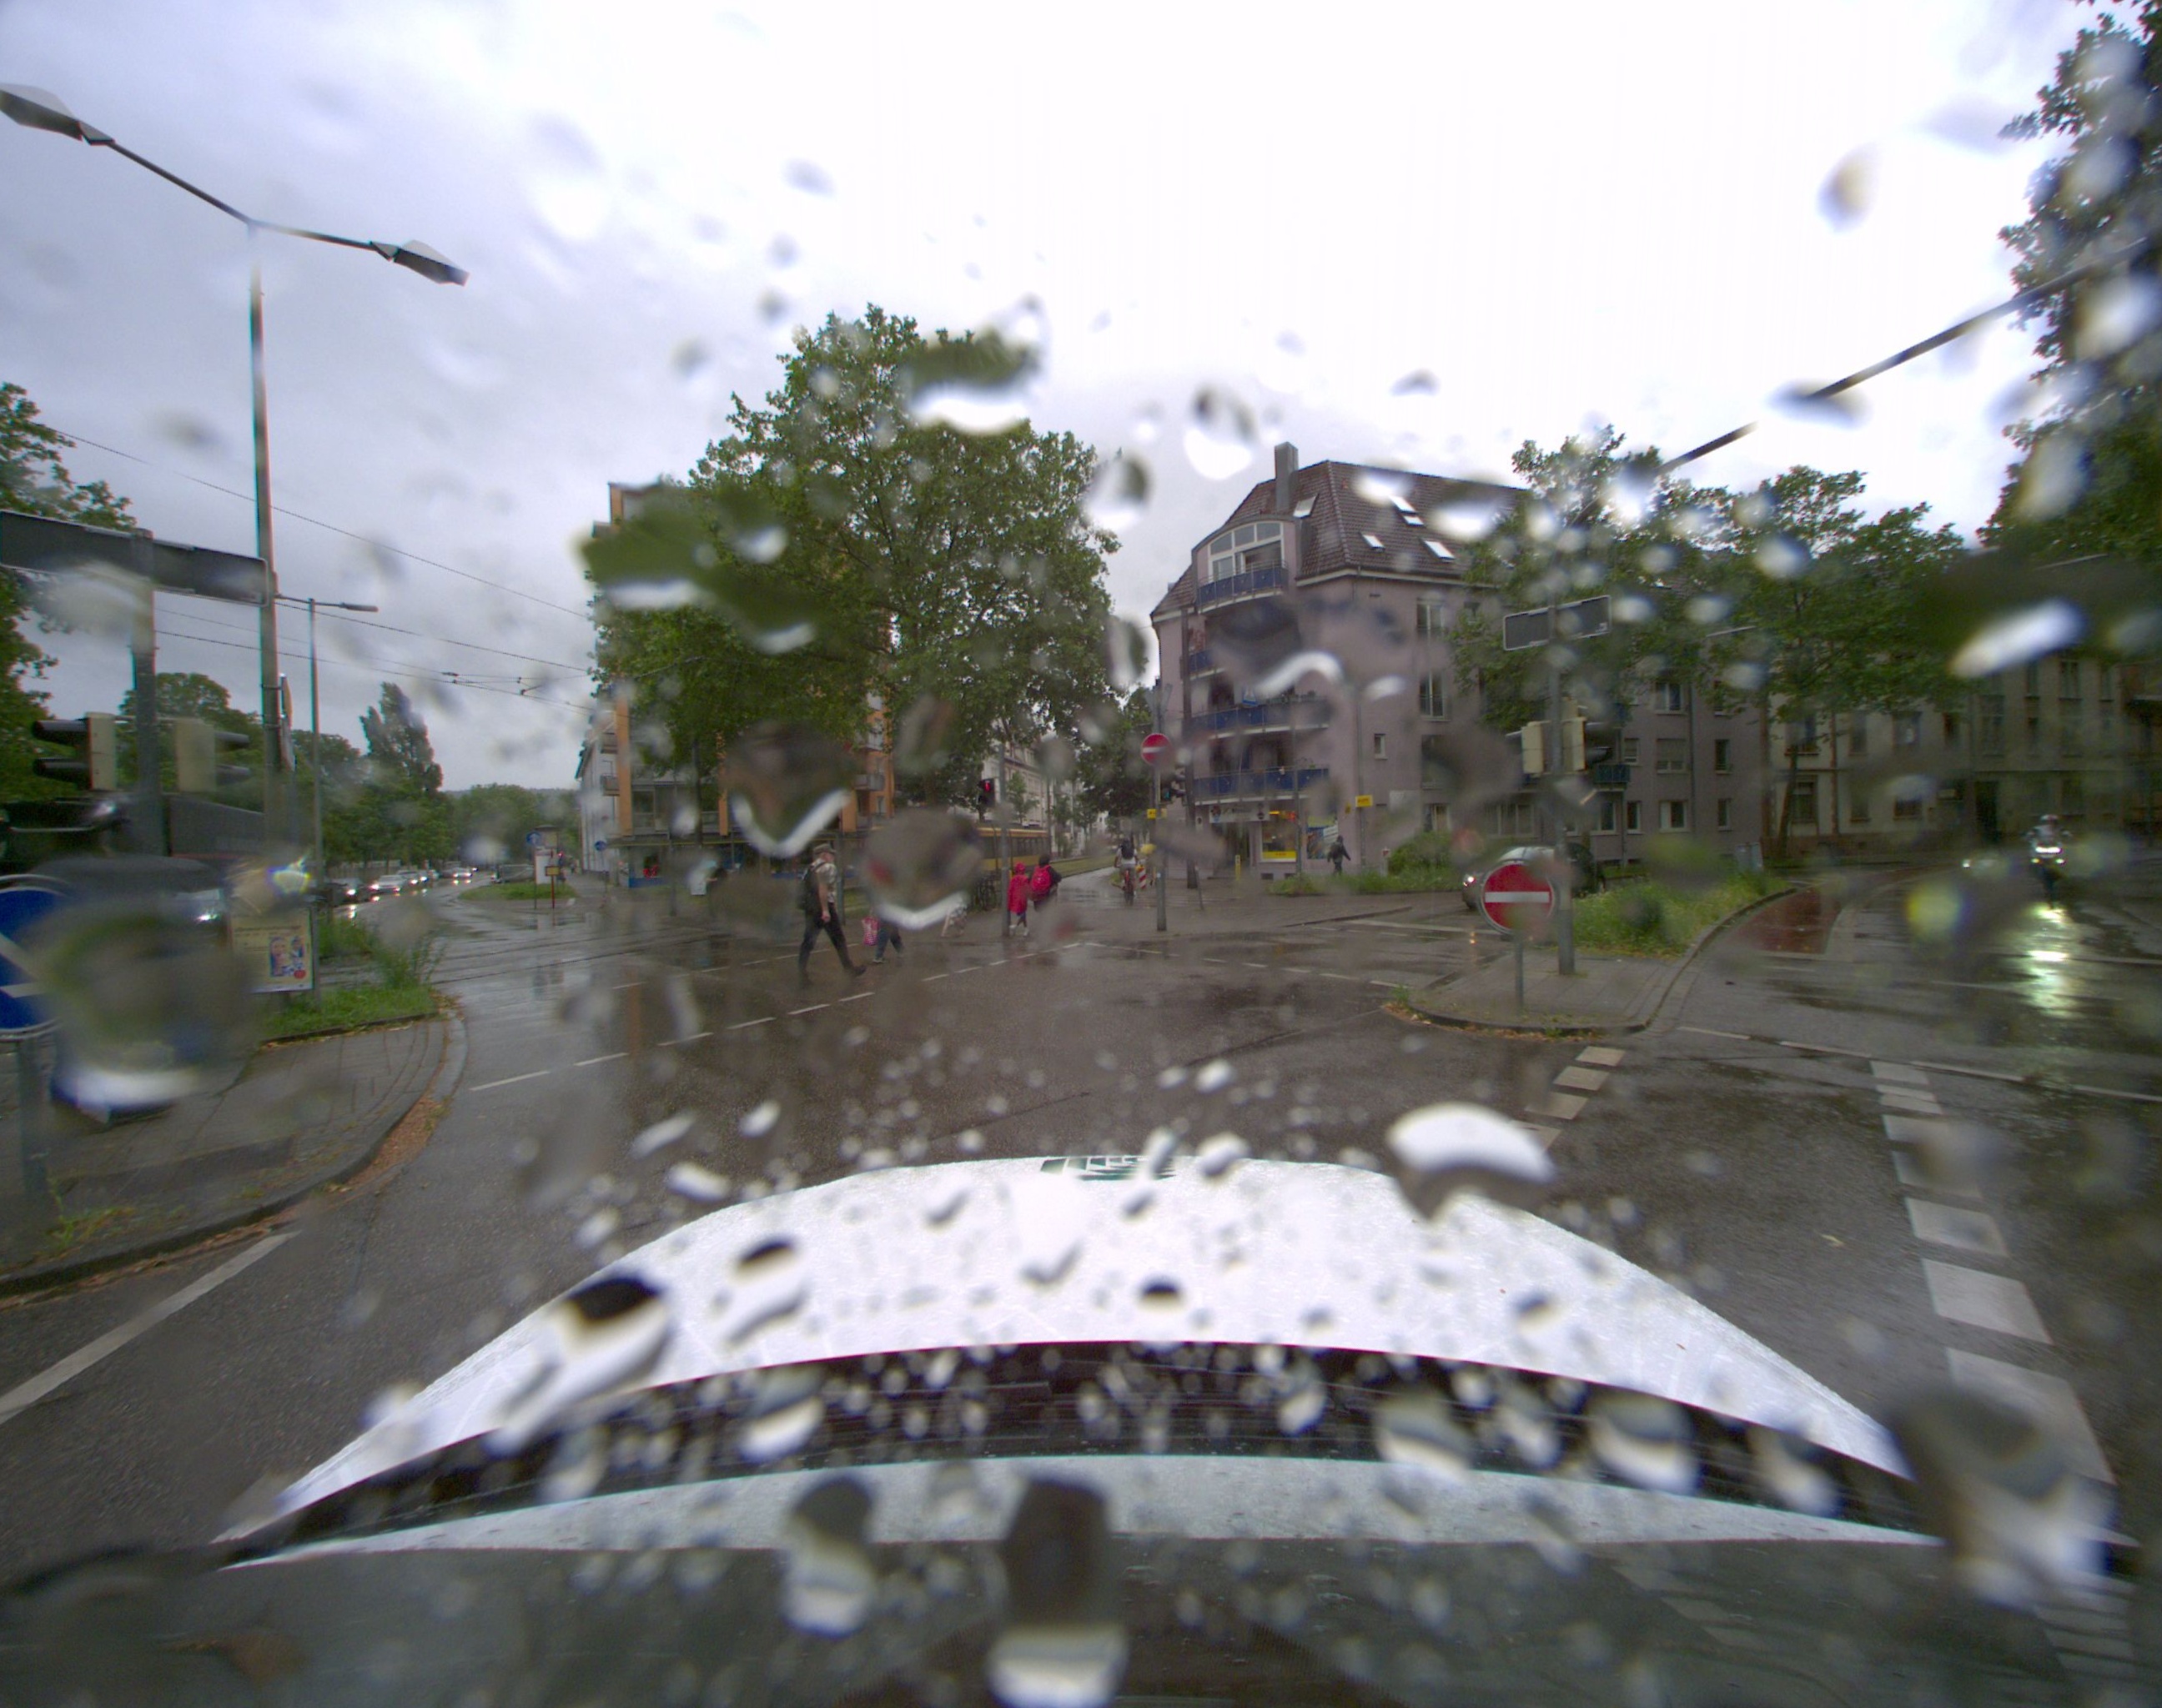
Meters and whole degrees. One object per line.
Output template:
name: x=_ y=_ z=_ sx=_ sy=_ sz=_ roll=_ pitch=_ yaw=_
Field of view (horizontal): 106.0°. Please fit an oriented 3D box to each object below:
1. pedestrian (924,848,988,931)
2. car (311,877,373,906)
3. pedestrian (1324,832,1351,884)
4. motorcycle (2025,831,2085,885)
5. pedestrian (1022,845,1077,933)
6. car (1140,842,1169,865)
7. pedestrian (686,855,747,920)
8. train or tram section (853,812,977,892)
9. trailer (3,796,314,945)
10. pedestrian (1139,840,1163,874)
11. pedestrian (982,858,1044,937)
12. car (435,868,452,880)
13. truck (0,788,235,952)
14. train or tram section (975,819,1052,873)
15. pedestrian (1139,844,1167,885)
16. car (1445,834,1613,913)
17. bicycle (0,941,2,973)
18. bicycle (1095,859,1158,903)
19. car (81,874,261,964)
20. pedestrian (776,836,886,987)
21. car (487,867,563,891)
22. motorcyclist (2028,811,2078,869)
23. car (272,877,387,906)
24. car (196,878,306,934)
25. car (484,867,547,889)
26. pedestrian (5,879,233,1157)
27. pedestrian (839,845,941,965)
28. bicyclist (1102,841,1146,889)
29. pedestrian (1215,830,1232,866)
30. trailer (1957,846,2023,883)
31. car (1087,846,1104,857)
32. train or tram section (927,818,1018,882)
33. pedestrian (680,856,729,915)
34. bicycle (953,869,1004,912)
pedestrian: x=-2.413 y=0.661 z=15.808 sx=0.870 sy=1.525 sz=1.068 roll=-2 pitch=1 yaw=10
car: x=-41.431 y=2.087 z=45.744 sx=1.738 sy=1.361 sz=4.294 roll=-3 pitch=1 yaw=-32
pedestrian: x=9.173 y=0.132 z=29.148 sx=0.635 sy=1.803 sz=0.626 roll=-1 pitch=1 yaw=44
motorcycle: x=23.228 y=0.071 z=19.442 sx=2.085 sy=1.214 sz=0.871 roll=-2 pitch=1 yaw=-40
pedestrian: x=-0.575 y=0.634 z=15.020 sx=0.684 sy=1.547 sz=0.766 roll=-2 pitch=1 yaw=23
car: x=5.864 y=-0.060 z=64.519 sx=1.982 sy=1.673 sz=4.011 roll=-2 pitch=1 yaw=9
pedestrian: x=-10.417 y=0.935 z=23.285 sx=1.221 sy=1.788 sz=1.045 roll=-2 pitch=0 yaw=32
train or tram section: x=-7.679 y=-0.123 z=39.088 sx=2.620 sy=3.369 sz=8.403 roll=-1 pitch=0 yaw=11
trailer: x=-31.850 y=0.415 z=29.334 sx=3.467 sy=4.048 sz=14.893 roll=-3 pitch=1 yaw=-33
pedestrian: x=3.623 y=0.155 z=42.066 sx=0.944 sy=1.697 sz=0.926 roll=-2 pitch=1 yaw=22
pedestrian: x=-1.269 y=0.800 z=15.271 sx=0.665 sy=1.381 sz=1.017 roll=-2 pitch=1 yaw=26
car: x=-93.767 y=2.975 z=119.772 sx=1.791 sy=1.530 sz=3.953 roll=-1 pitch=2 yaw=-41
truck: x=-28.057 y=0.388 z=23.538 sx=3.475 sy=4.078 sz=6.901 roll=-2 pitch=1 yaw=-34
train or tram section: x=-4.444 y=-0.586 z=56.325 sx=2.621 sy=3.351 sz=10.017 roll=-1 pitch=1 yaw=11
pedestrian: x=2.854 y=0.395 z=32.307 sx=0.985 sy=1.559 sz=0.786 roll=-2 pitch=0 yaw=10
car: x=9.872 y=0.355 z=17.812 sx=4.201 sy=1.461 sz=1.970 roll=-2 pitch=1 yaw=-43
bicycle: x=-19.363 y=1.650 z=14.130 sx=1.851 sy=1.024 sz=0.537 roll=-2 pitch=1 yaw=43
bicycle: x=1.285 y=0.746 z=23.387 sx=0.756 sy=1.173 sz=2.021 roll=-3 pitch=1 yaw=-32
car: x=-21.222 y=1.386 z=19.238 sx=2.091 sy=1.682 sz=4.872 roll=1 pitch=0 yaw=-39
pedestrian: x=-3.139 y=0.691 z=10.298 sx=0.802 sy=1.781 sz=1.000 roll=-2 pitch=1 yaw=22
car: x=-41.315 y=1.824 z=60.622 sx=4.566 sy=1.470 sz=1.962 roll=-3 pitch=1 yaw=-34
motorcyclist: x=23.292 y=-0.333 z=19.528 sx=0.759 sy=1.351 sz=0.749 roll=-2 pitch=0 yaw=-40
car: x=-45.730 y=2.252 z=49.637 sx=4.899 sy=1.453 sz=2.085 roll=-2 pitch=1 yaw=-2
car: x=-24.996 y=1.505 z=24.669 sx=1.712 sy=1.373 sz=4.054 roll=-2 pitch=1 yaw=-37
car: x=-46.882 y=1.939 z=67.605 sx=4.222 sy=1.568 sz=1.868 roll=-3 pitch=0 yaw=-36
pedestrian: x=-6.260 y=0.986 z=5.337 sx=0.634 sy=1.581 sz=0.869 roll=-2 pitch=1 yaw=40
pedestrian: x=-2.891 y=0.731 z=12.345 sx=0.983 sy=1.686 sz=1.063 roll=-1 pitch=1 yaw=40
bicyclist: x=1.236 y=0.308 z=23.441 sx=0.745 sy=1.309 sz=1.066 roll=-3 pitch=1 yaw=-31
pedestrian: x=6.315 y=-0.262 z=36.135 sx=0.467 sy=1.602 sz=0.597 roll=-1 pitch=0 yaw=35
trailer: x=22.591 y=0.257 z=20.235 sx=1.490 sy=0.842 sz=1.015 roll=-2 pitch=1 yaw=-39
car: x=2.128 y=-0.359 z=117.211 sx=1.983 sy=1.533 sz=4.007 roll=-1 pitch=1 yaw=6
train or tram section: x=-6.082 y=-0.267 z=47.305 sx=2.621 sy=3.351 sz=8.401 roll=-1 pitch=0 yaw=10
pedestrian: x=-12.548 y=1.017 z=27.128 sx=1.180 sy=1.865 sz=1.369 roll=0 pitch=1 yaw=-39
bicycle: x=-2.774 y=0.979 z=22.149 sx=0.440 sy=1.077 sz=1.629 roll=-2 pitch=1 yaw=31
